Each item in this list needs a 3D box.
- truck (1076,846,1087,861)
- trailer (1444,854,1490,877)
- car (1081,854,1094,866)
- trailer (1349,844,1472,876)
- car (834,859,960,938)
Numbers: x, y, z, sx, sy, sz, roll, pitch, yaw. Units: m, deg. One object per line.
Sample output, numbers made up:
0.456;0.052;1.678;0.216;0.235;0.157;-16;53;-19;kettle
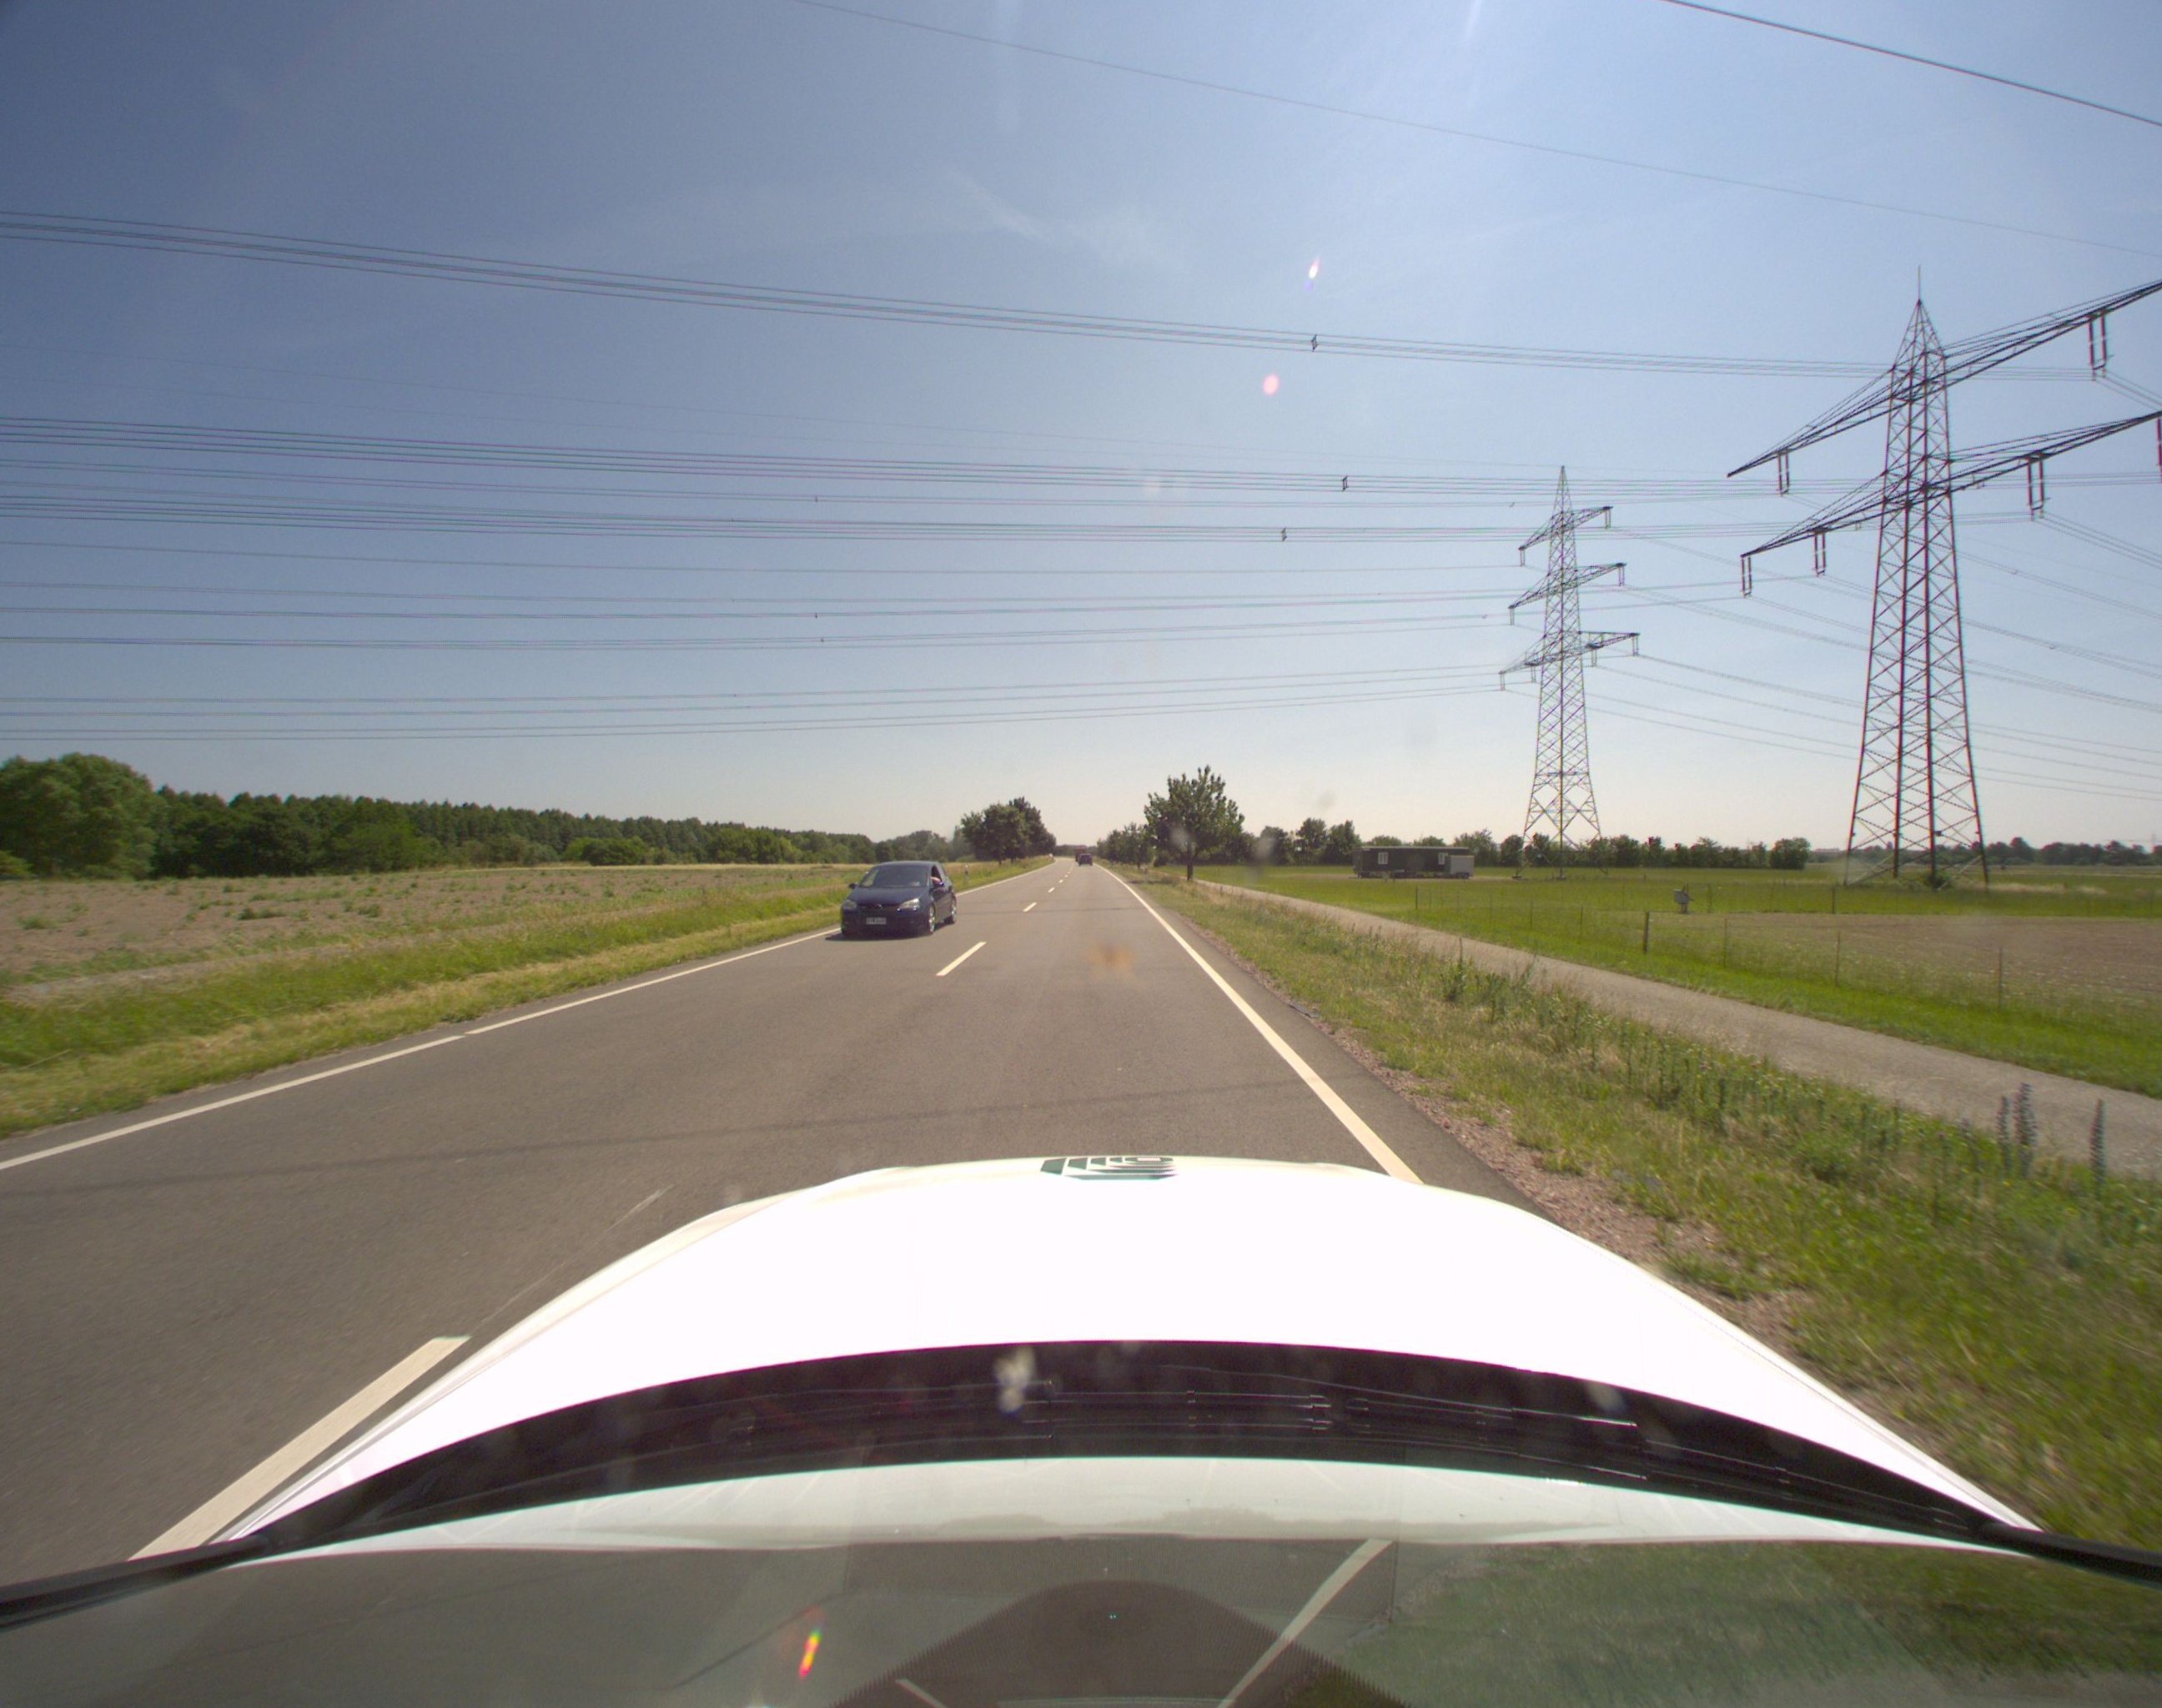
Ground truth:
0.111;-0.079;187.224;2.364;3.140;8.743;-1;0;-1;truck
41.731;1.182;88.069;3.978;2.443;1.998;0;0;-3;trailer
0.917;0.859;115.146;1.709;1.694;3.988;-1;0;0;car
36.705;0.666;91.015;12.375;3.473;3.803;0;0;-2;trailer
-3.726;0.838;17.208;1.729;1.447;3.999;-1;0;0;car
